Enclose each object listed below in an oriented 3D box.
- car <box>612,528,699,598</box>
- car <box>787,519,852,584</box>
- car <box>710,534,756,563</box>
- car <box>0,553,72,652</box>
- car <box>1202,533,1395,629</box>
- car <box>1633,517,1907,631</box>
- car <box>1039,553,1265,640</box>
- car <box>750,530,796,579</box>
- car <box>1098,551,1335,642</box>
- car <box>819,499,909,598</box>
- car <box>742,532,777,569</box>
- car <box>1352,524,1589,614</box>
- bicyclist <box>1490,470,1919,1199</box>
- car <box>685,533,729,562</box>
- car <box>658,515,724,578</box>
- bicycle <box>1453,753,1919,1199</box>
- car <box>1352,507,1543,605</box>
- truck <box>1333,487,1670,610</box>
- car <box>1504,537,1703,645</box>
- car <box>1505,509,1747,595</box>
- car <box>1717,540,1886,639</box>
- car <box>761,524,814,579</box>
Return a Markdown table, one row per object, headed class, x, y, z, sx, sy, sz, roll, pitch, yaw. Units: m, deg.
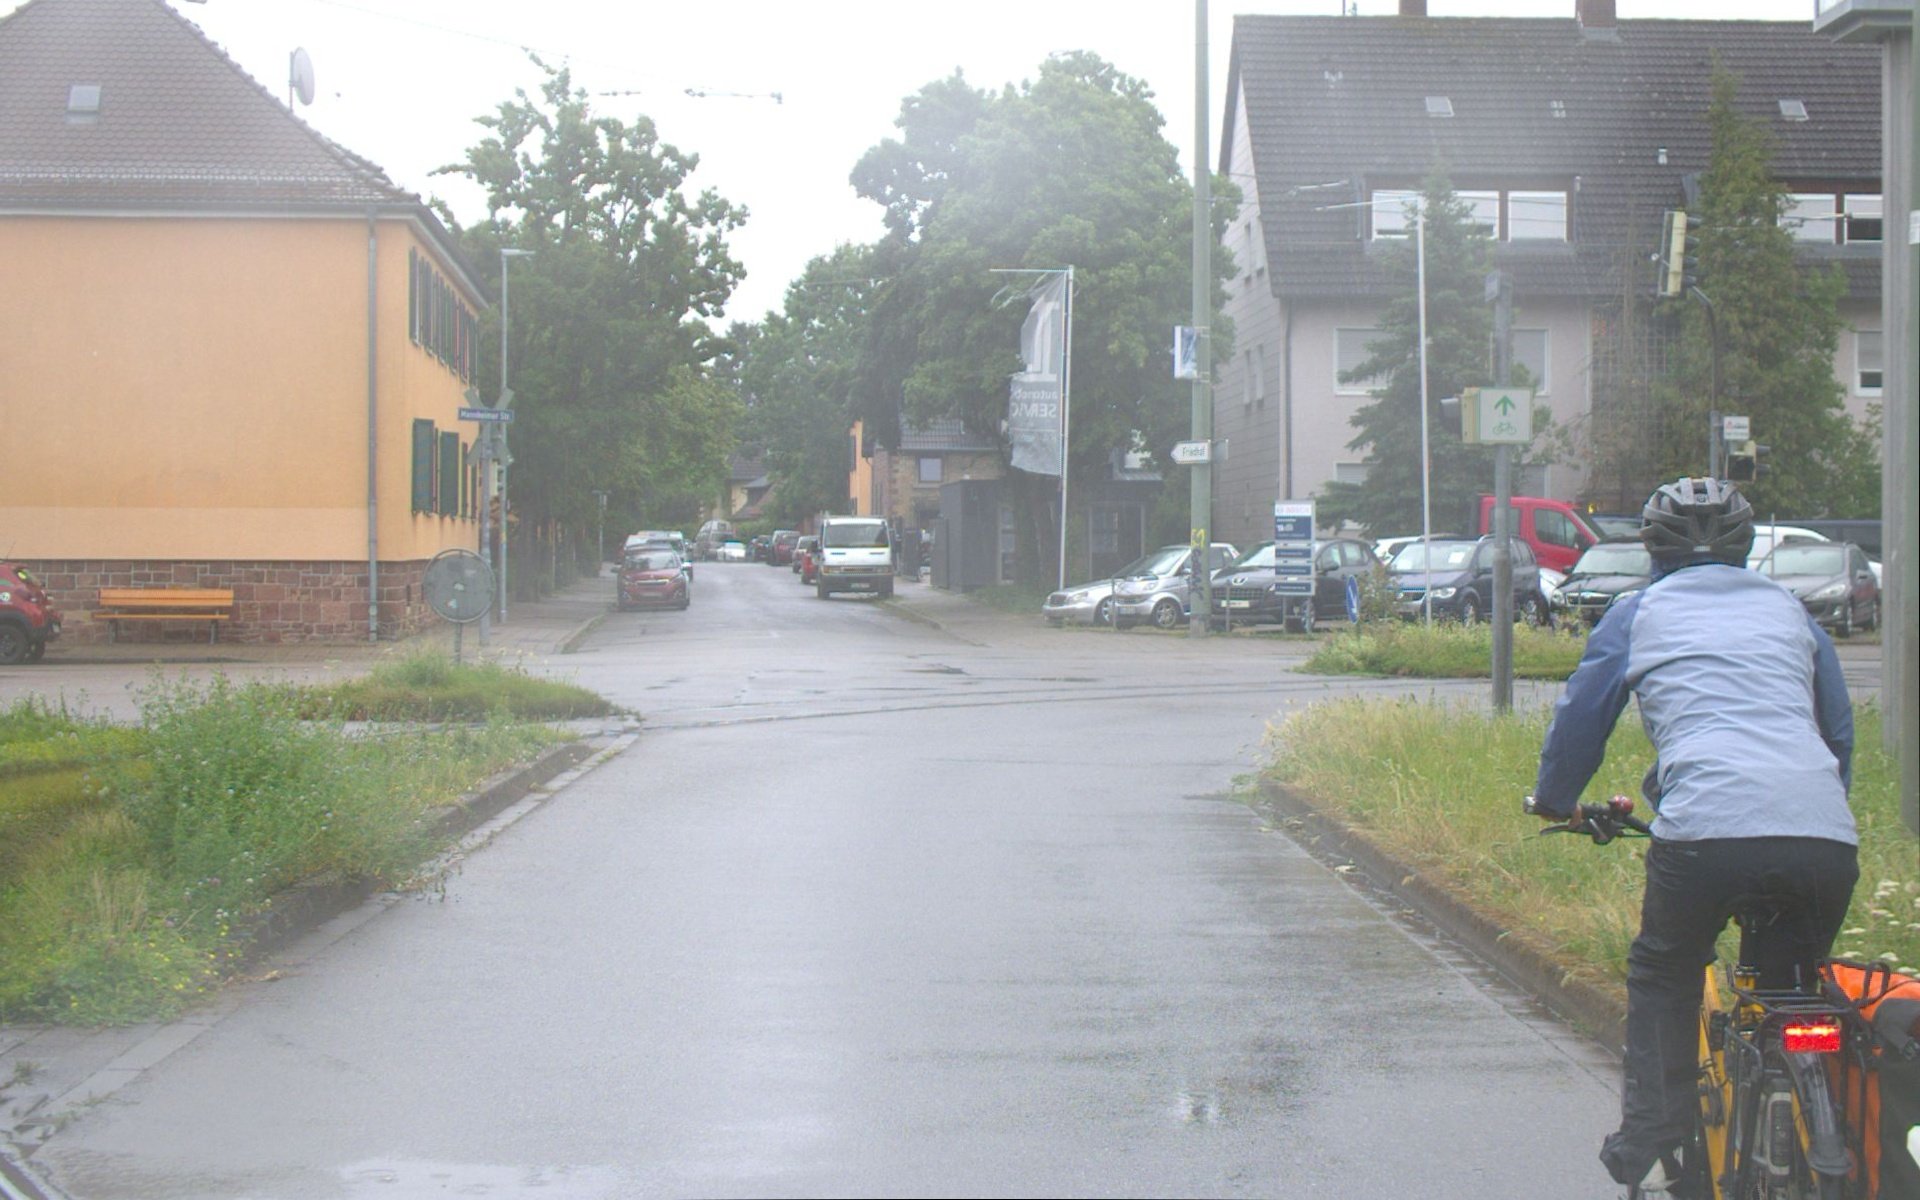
| class | x | y | z | sx | sy | sz | roll | pitch | yaw |
| --- | --- | --- | --- | --- | --- | --- | --- | --- | --- |
| car | -7.183 | -0.864 | 81.427 | 1.993 | 1.612 | 4.001 | 0 | 0 | -4 |
| car | -4.541 | -1.579 | 111.323 | 1.993 | 2.007 | 4.001 | 2 | 1 | -2 |
| car | -14.168 | -3.201 | 214.292 | 1.828 | 1.691 | 4.033 | 2 | 1 | -19 |
| car | -14.599 | -0.026 | 48.770 | 3.604 | 1.334 | 1.723 | 2 | 1 | -5 |
| car | 5.784 | -0.350 | 58.427 | 1.805 | 1.573 | 3.865 | 0 | 1 | 30 |
| car | 14.431 | -0.462 | 61.433 | 4.432 | 2.007 | 2.000 | 0 | 0 | 0 |
| car | 3.620 | -0.092 | 65.062 | 3.858 | 1.573 | 1.808 | -1 | 1 | -22 |
| car | -8.179 | -2.002 | 150.401 | 1.828 | 2.007 | 4.001 | 2 | 1 | -5 |
| car | 4.638 | -0.083 | 62.102 | 3.858 | 1.573 | 1.808 | -1 | 1 | -22 |
| car | -2.643 | -1.402 | 93.618 | 2.153 | 2.564 | 4.134 | 2 | 1 | -5 |
| car | -11.445 | -2.818 | 196.080 | 1.828 | 2.007 | 4.001 | 2 | 1 | -5 |
| car | 9.268 | -0.557 | 62.310 | 3.969 | 1.592 | 1.998 | 0 | 0 | 18 |
| bicyclist | 1.428 | 0.514 | 6.330 | 0.751 | 1.480 | 0.846 | -1 | 1 | 0 |
| car | -16.165 | -3.361 | 219.661 | 1.828 | 1.691 | 4.033 | 2 | 1 | -19 |
| car | -9.024 | -1.799 | 115.488 | 1.993 | 2.007 | 4.001 | 2 | 1 | -2 |
| bicycle | 1.442 | 0.882 | 6.399 | 0.752 | 1.069 | 1.927 | -1 | 1 | 0 |
| car | 8.134 | -0.742 | 57.169 | 1.805 | 1.573 | 3.865 | 0 | 1 | 30 |
| truck | 10.273 | -0.951 | 65.208 | 6.088 | 2.264 | 1.998 | 0 | 0 | 18 |
| car | 10.656 | -0.175 | 56.746 | 1.997 | 1.711 | 3.993 | 0 | 1 | 30 |
| car | 13.235 | -0.939 | 68.454 | 4.432 | 1.682 | 2.000 | 0 | 0 | 0 |
| car | 13.916 | -0.167 | 56.696 | 1.830 | 1.499 | 4.052 | 3 | 1 | 26 |
| car | -6.630 | -1.875 | 131.802 | 1.828 | 2.007 | 4.001 | 2 | 1 | -5 |
